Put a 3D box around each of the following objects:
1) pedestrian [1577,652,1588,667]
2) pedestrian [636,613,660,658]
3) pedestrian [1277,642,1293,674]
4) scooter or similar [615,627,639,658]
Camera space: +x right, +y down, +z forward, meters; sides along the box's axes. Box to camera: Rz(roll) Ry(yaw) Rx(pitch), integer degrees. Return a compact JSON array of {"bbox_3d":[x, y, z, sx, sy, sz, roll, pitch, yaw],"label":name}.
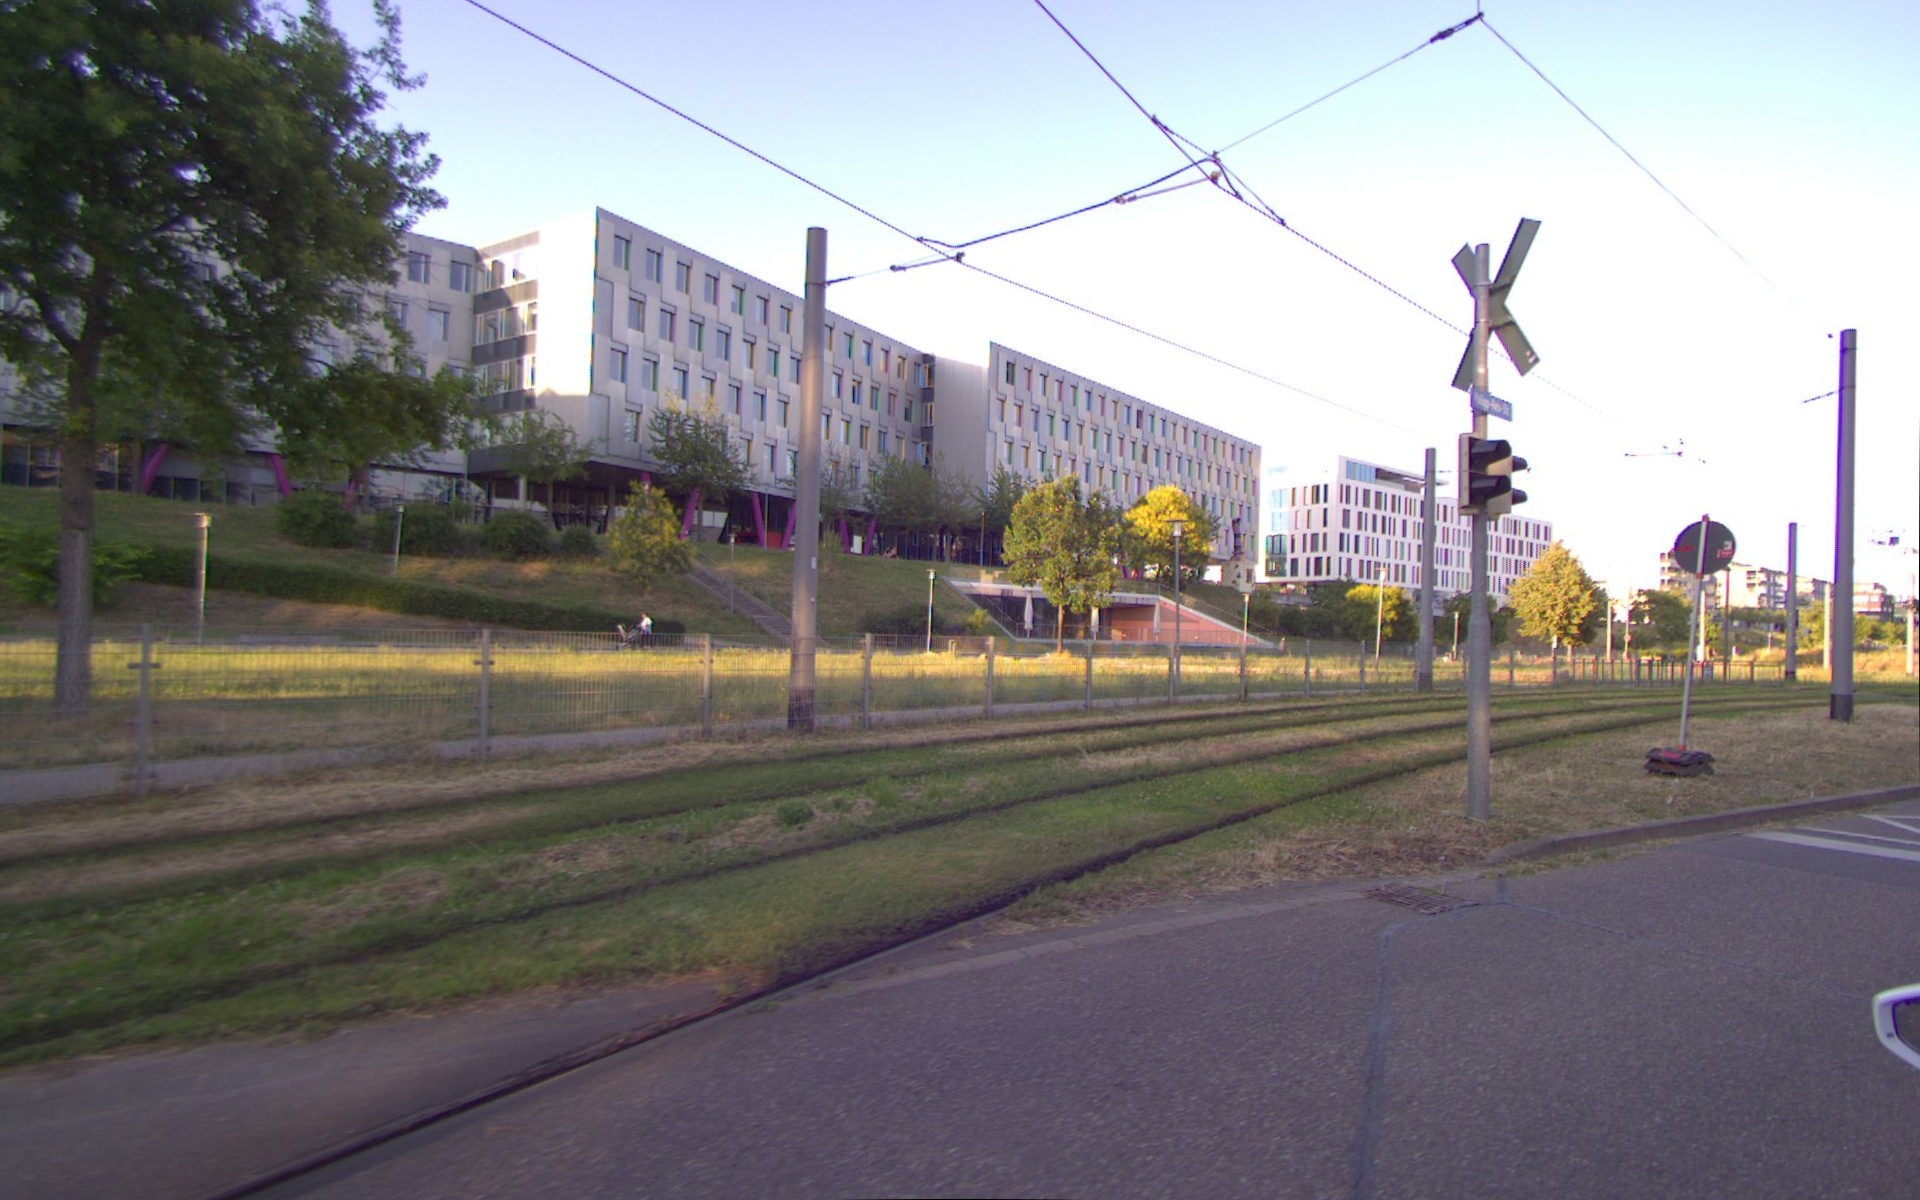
[{"bbox_3d":[74.232,7.086,119.824,0.804,1.809,0.784,2,-2,-29],"label":"pedestrian"},{"bbox_3d":[-13.308,1.511,42.824,0.782,1.861,0.612,3,0,-33],"label":"pedestrian"},{"bbox_3d":[21.815,3.898,67.426,0.782,2.110,0.612,3,0,-33],"label":"pedestrian"},{"bbox_3d":[-14.013,1.776,42.311,0.782,1.260,0.612,3,0,-33],"label":"scooter or similar"}]
